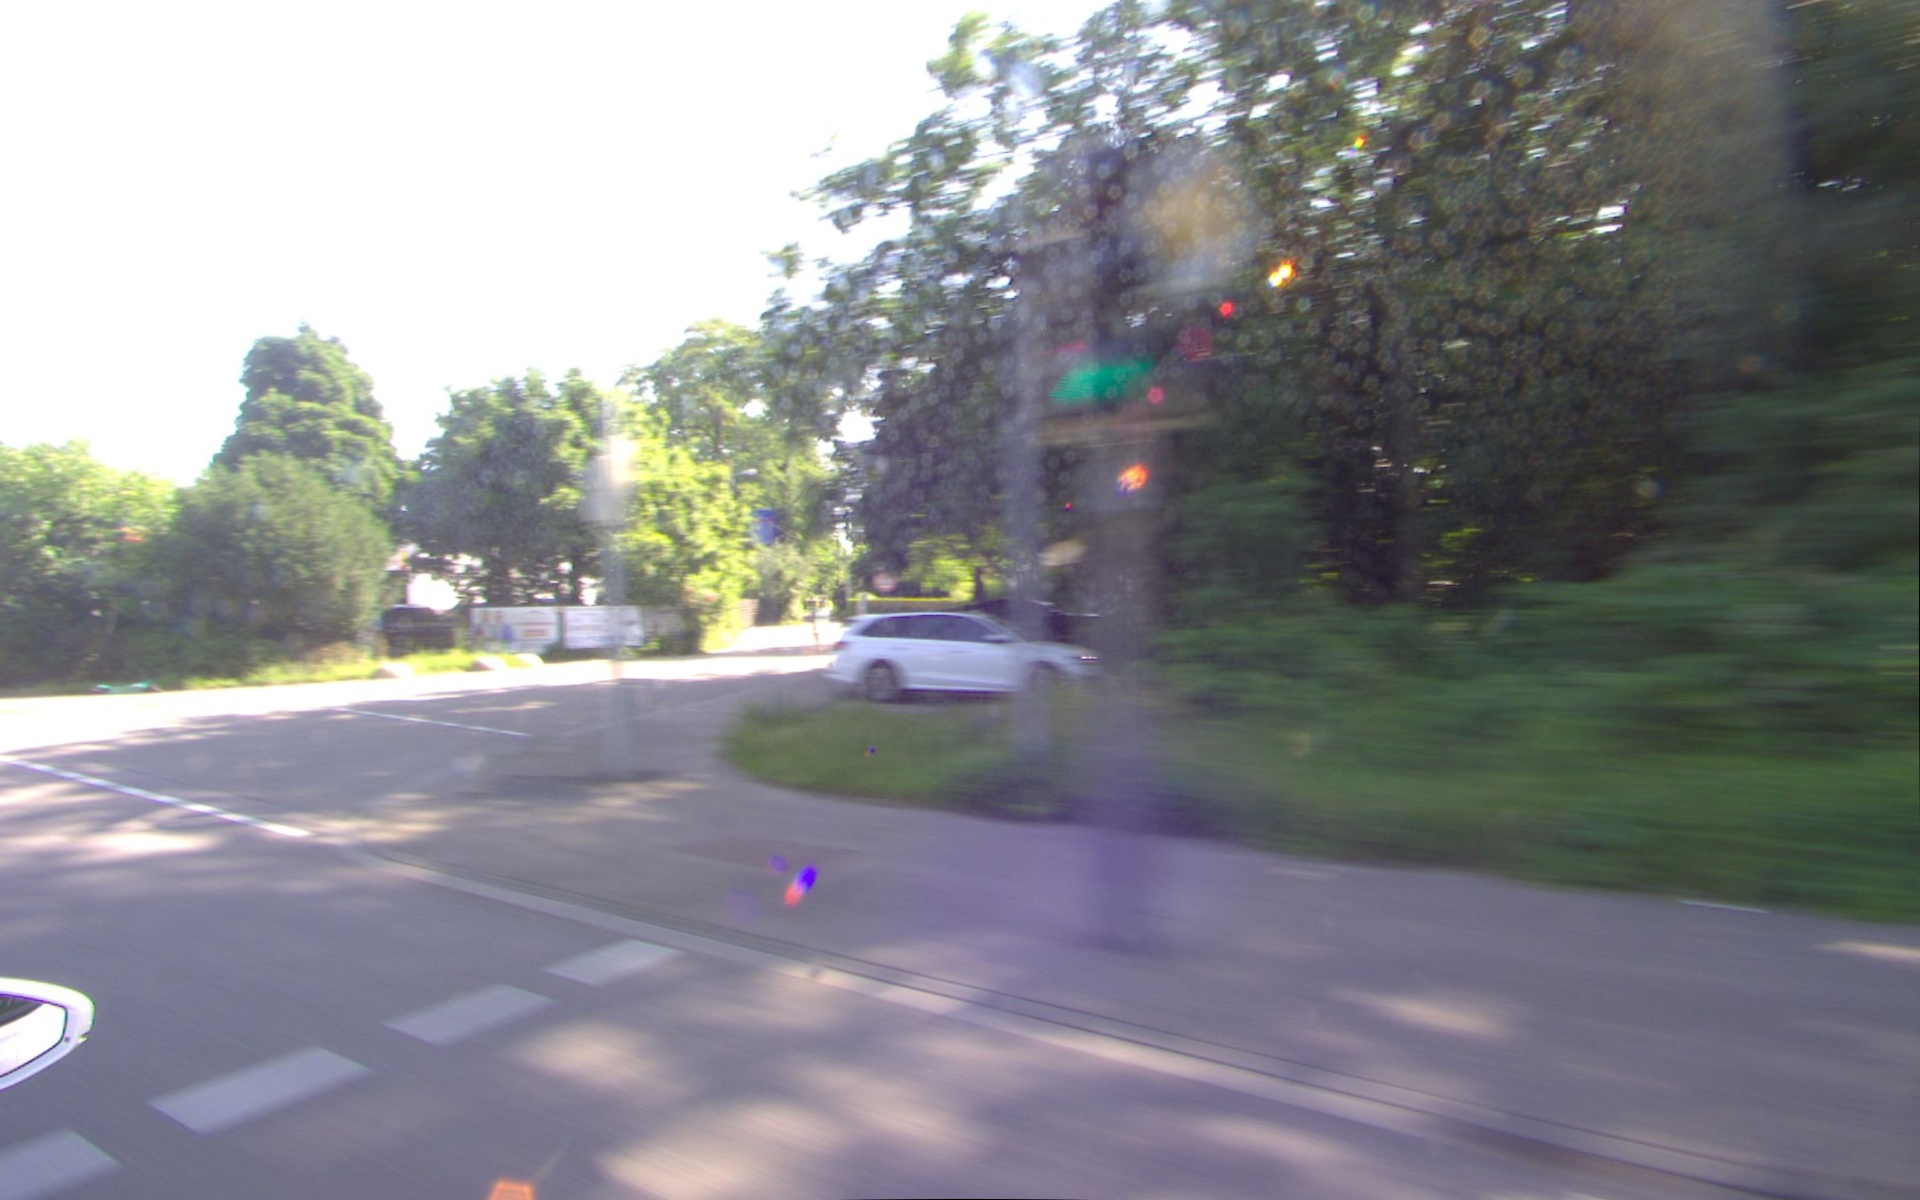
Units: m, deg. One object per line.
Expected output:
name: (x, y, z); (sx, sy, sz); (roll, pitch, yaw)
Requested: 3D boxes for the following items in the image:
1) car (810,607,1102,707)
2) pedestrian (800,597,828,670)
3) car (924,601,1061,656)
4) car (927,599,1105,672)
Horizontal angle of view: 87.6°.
car: (-0.021, 0.902, 16.444); (4.529, 1.484, 1.627); (-1, 1, 13)
pedestrian: (-3.357, 0.755, 23.069); (0.598, 1.651, 0.414); (-1, 1, -8)
car: (0.900, 0.819, 29.585); (3.910, 1.484, 1.628); (-1, 1, -2)
car: (1.284, 0.755, 22.888); (3.730, 1.484, 1.622); (-1, 1, -26)
